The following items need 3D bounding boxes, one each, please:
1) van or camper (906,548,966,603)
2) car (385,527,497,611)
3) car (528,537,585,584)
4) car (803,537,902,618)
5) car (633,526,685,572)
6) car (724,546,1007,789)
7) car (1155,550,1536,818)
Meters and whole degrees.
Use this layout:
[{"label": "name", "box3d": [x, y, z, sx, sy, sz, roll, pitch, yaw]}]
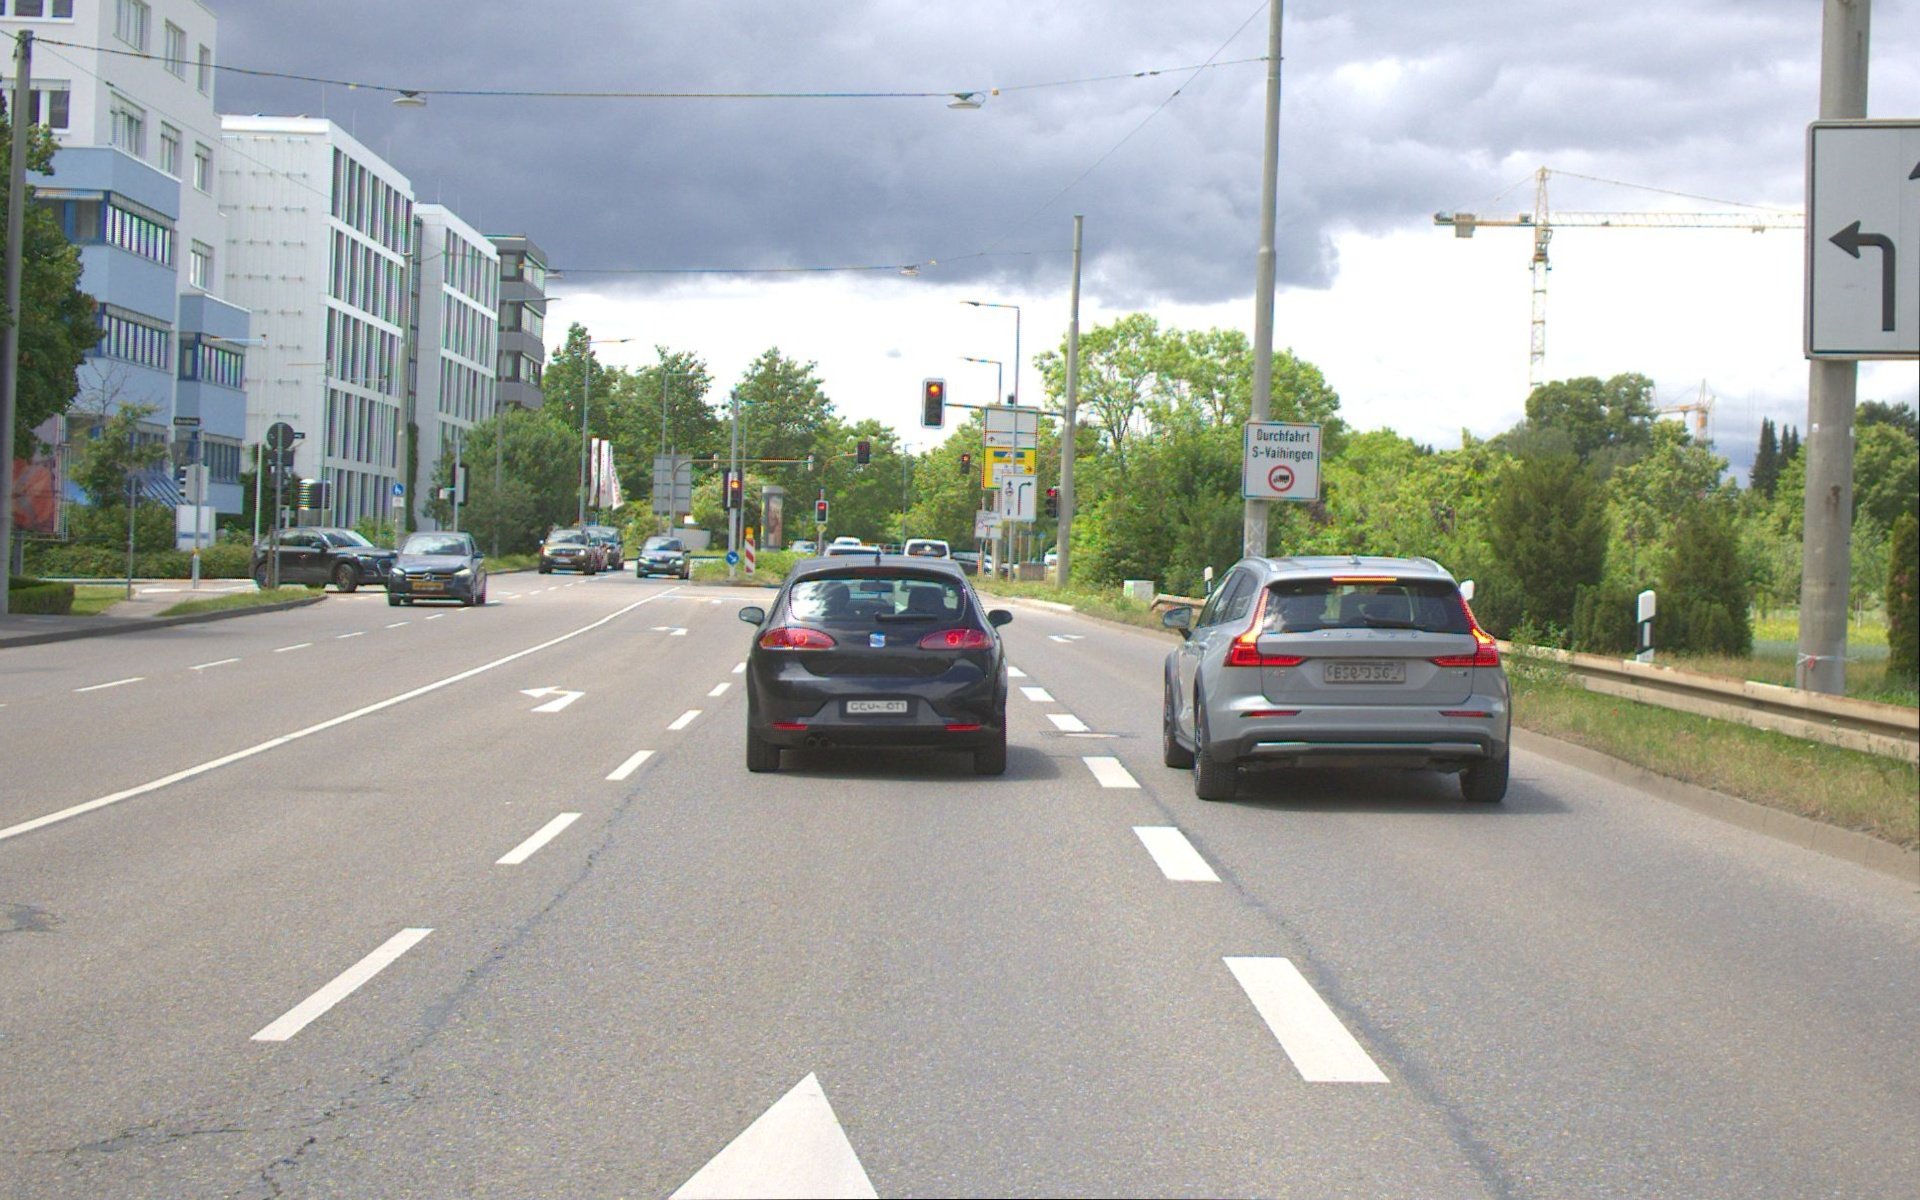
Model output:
[{"label": "van or camper", "box3d": [-0.937, -0.959, 132.936, 1.899, 1.919, 4.001, 3, 1, -5]}, {"label": "car", "box3d": [-10.981, -0.661, 72.994, 1.796, 1.579, 4.314, 5, 0, -3]}, {"label": "car", "box3d": [-14.243, -1.407, 121.530, 1.751, 1.625, 4.001, 0, 1, -3]}, {"label": "car", "box3d": [-2.367, -0.516, 74.801, 1.983, 1.584, 4.227, 2, 2, -3]}, {"label": "car", "box3d": [-10.543, -1.800, 120.526, 1.668, 1.519, 4.009, 0, 2, -3]}, {"label": "car", "box3d": [-0.582, 0.414, 23.860, 1.748, 1.479, 4.000, 2, 0, 1]}, {"label": "car", "box3d": [2.330, 0.467, 21.851, 1.958, 1.520, 4.340, 0, 0, 1]}]
